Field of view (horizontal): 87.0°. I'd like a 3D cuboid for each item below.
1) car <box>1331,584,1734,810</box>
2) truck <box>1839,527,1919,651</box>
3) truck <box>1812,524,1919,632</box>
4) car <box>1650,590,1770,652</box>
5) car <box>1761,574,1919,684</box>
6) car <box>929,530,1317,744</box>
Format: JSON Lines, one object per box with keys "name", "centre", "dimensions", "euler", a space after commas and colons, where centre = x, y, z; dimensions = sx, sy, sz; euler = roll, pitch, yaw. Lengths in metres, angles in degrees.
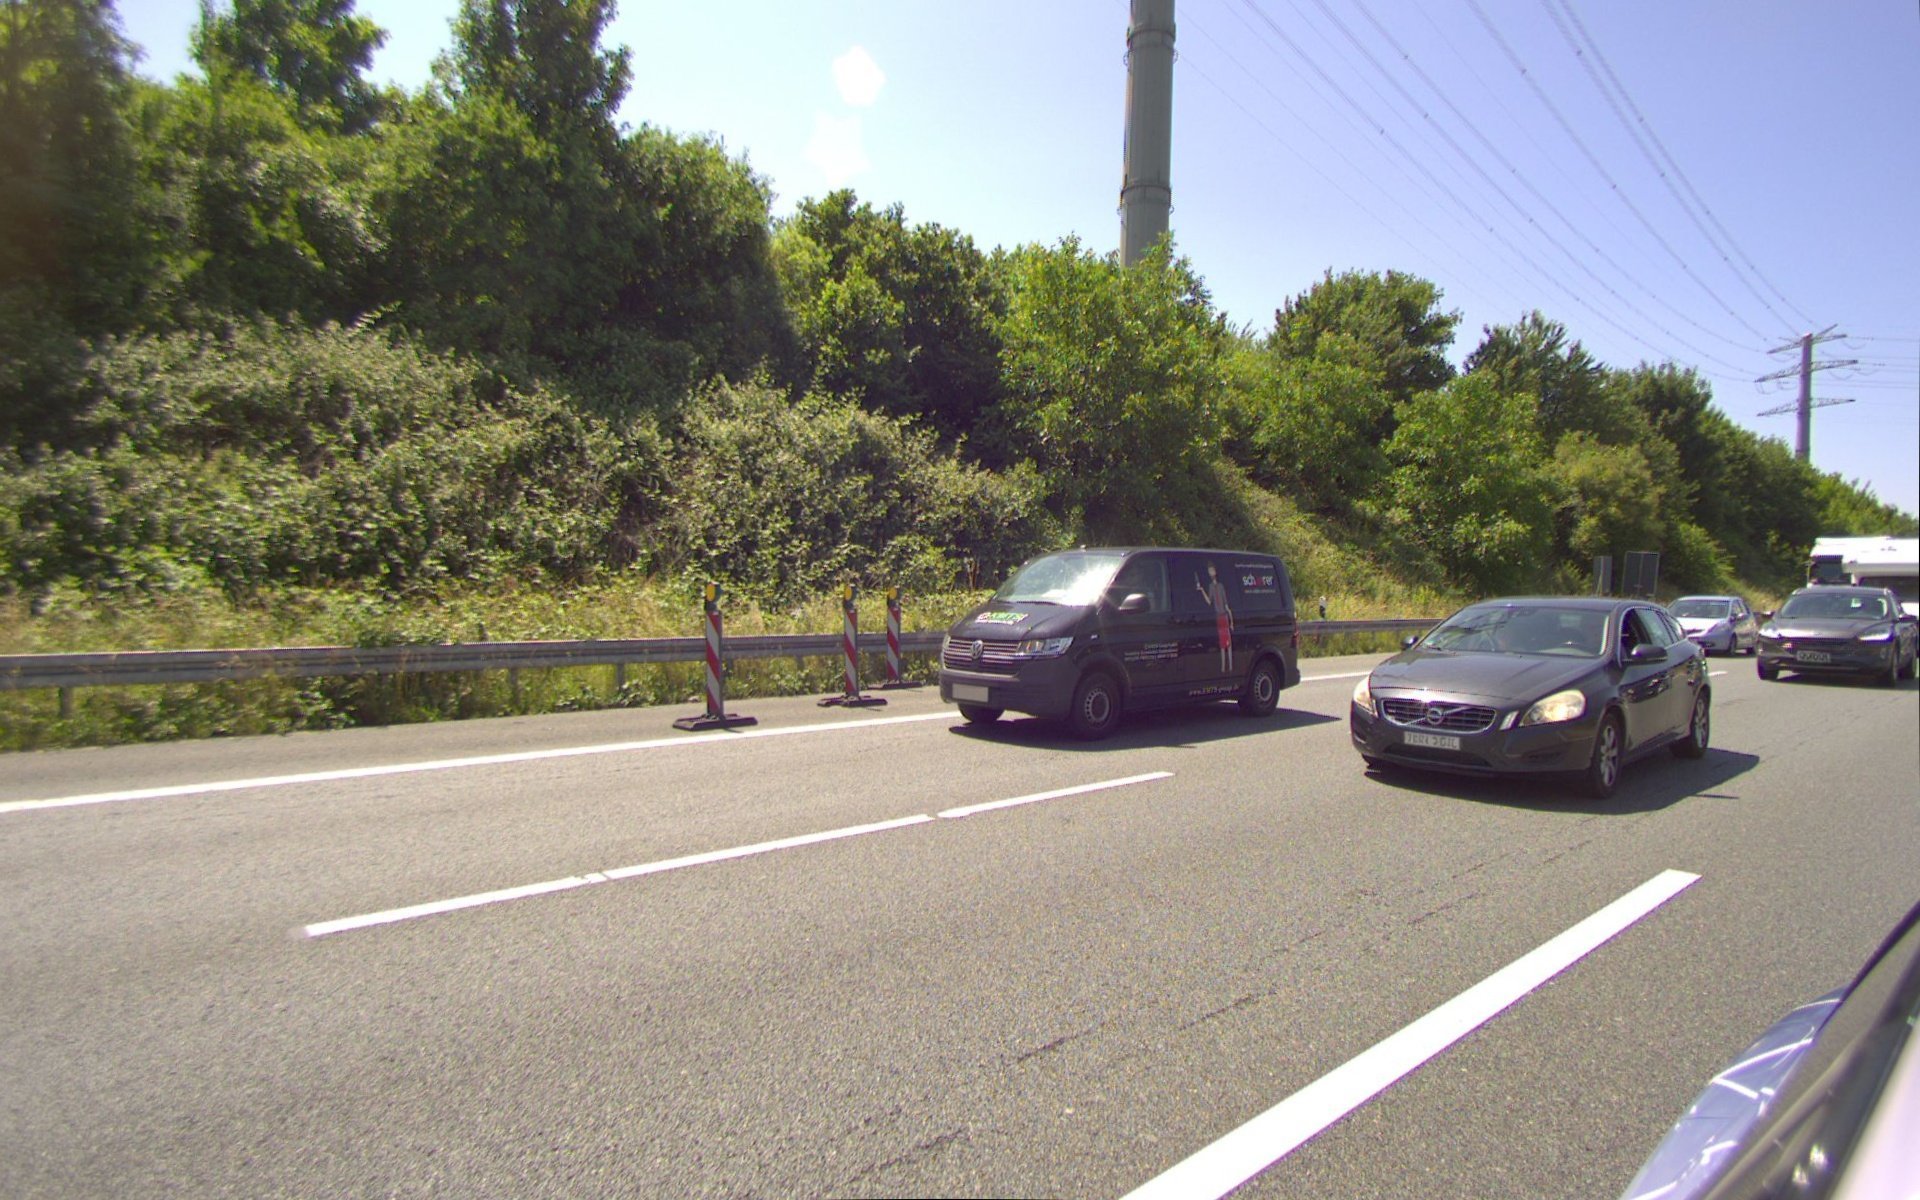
{"name": "car", "centre": [5.016, 0.600, 8.604], "dimensions": [4.159, 1.455, 1.798], "euler": [-1, 1, -42]}
{"name": "truck", "centre": [27.296, -0.314, 28.395], "dimensions": [9.722, 3.053, 2.513], "euler": [-1, 0, -40]}
{"name": "truck", "centre": [40.114, -0.901, 44.207], "dimensions": [11.458, 4.204, 2.653], "euler": [-1, 0, -41]}
{"name": "car", "centre": [19.083, 0.471, 25.708], "dimensions": [3.668, 1.455, 1.798], "euler": [-1, 1, -42]}
{"name": "car", "centre": [15.976, 0.432, 18.145], "dimensions": [4.309, 1.724, 1.890], "euler": [-1, 1, -42]}
{"name": "car", "centre": [1.991, 0.310, 11.345], "dimensions": [4.617, 1.928, 1.787], "euler": [-1, 0, -42]}
